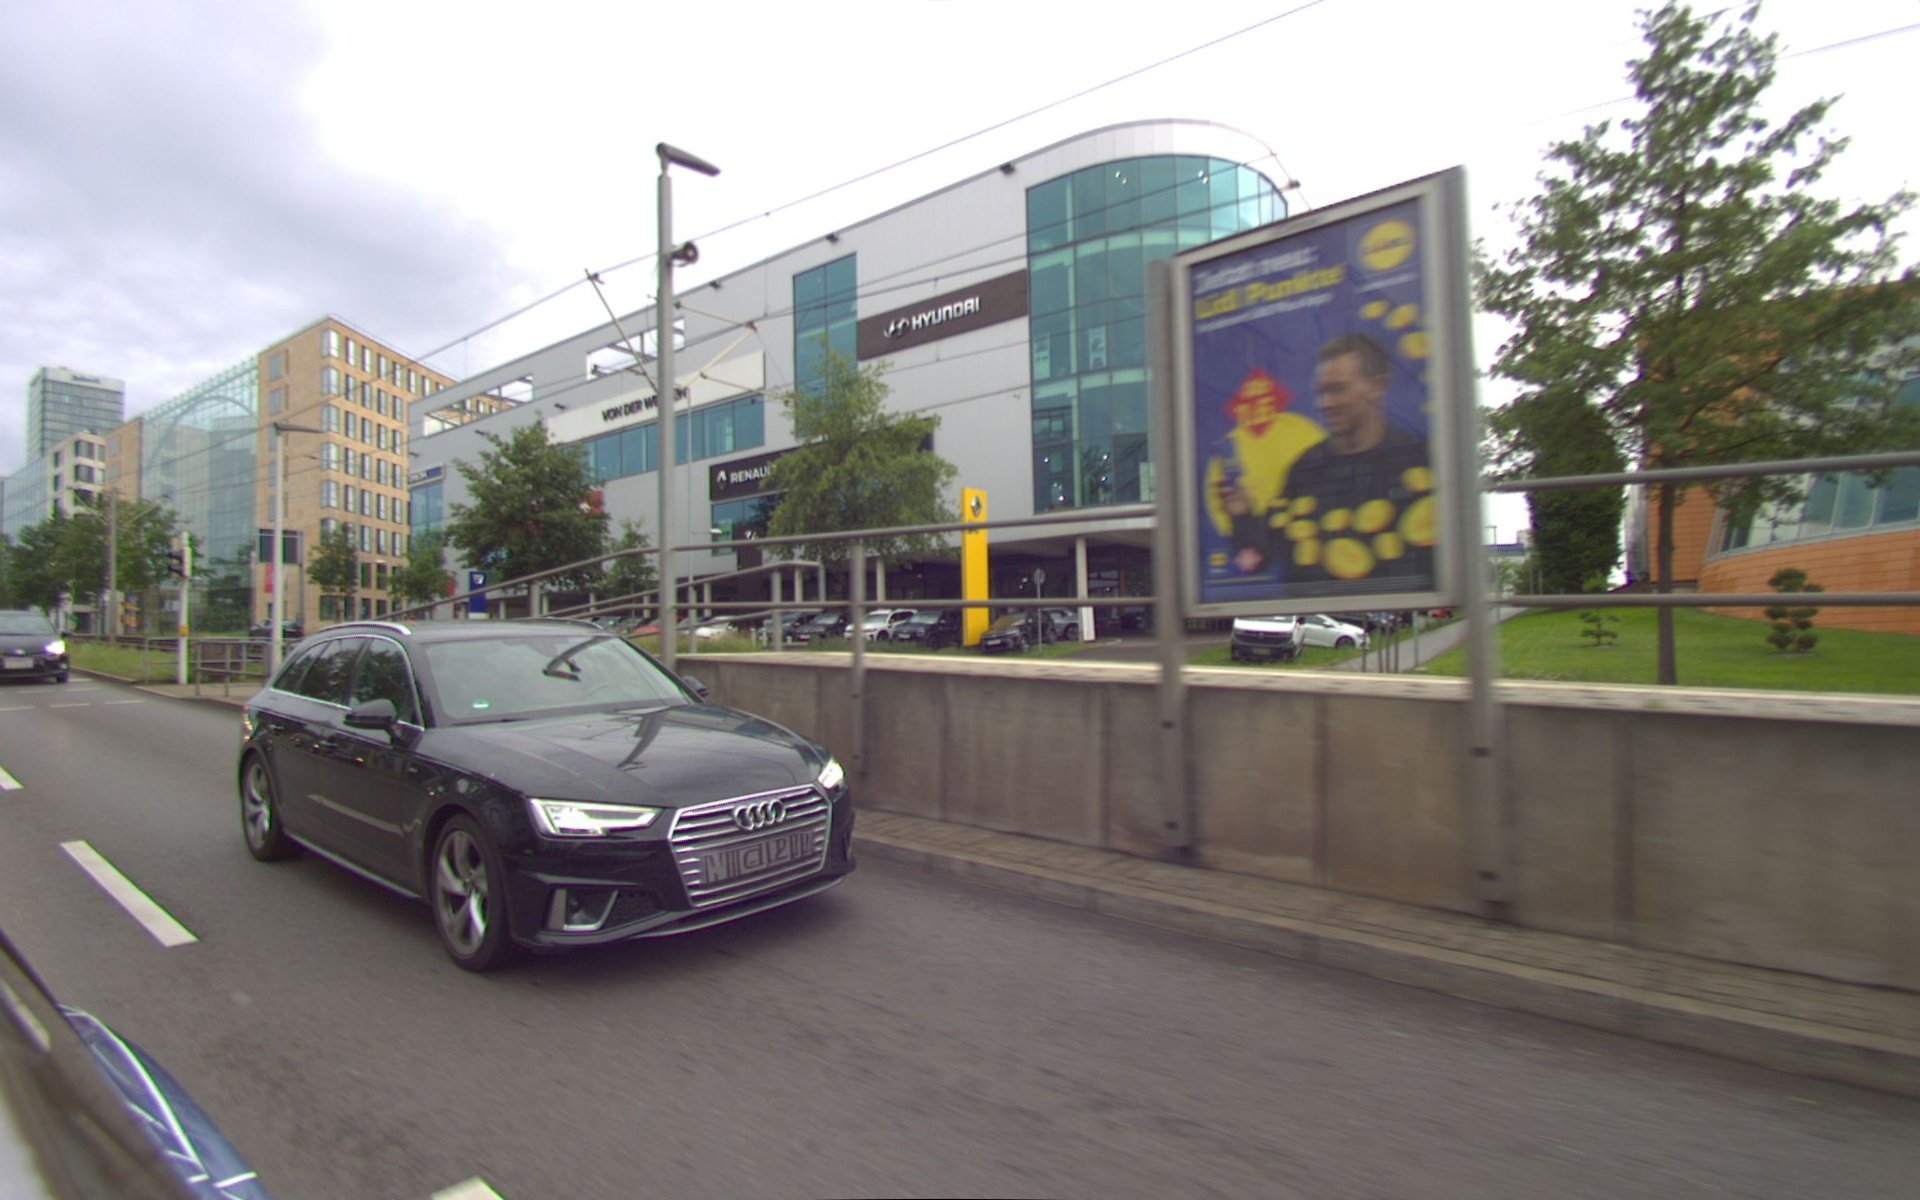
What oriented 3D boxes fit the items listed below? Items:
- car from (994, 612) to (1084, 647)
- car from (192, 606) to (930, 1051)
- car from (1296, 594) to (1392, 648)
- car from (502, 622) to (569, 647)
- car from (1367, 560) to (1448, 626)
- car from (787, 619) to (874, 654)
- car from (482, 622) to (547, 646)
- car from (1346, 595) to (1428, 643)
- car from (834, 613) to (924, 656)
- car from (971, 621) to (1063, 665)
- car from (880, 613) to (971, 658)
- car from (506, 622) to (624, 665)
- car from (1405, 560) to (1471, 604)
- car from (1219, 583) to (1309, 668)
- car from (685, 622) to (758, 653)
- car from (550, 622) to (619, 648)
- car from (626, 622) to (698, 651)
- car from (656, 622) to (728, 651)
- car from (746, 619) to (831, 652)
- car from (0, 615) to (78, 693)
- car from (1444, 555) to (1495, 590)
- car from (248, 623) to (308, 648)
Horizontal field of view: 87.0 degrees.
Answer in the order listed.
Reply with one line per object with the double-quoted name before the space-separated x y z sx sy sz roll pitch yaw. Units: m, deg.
"car" 3.512 1.320 45.630 3.946 1.480 1.770 -1 -1 2
"car" -2.534 0.803 5.572 4.826 1.445 1.771 -2 -2 41
"car" 15.097 0.772 39.570 2.274 1.941 5.420 -1 0 35
"car" -26.921 2.151 64.274 1.812 1.502 3.813 -1 -1 22
"car" 23.906 -0.367 53.935 2.994 3.296 5.420 -1 0 35
"car" -5.924 1.642 46.574 1.819 1.502 3.954 -2 -1 34
"car" -28.956 2.185 65.881 1.809 1.502 3.819 -1 -1 18
"car" 18.992 0.791 44.828 2.274 1.941 5.420 -1 0 35
"car" -3.542 1.508 44.835 1.917 1.674 3.954 -2 1 34
"car" 2.268 1.624 39.497 1.891 1.519 3.956 -1 0 33
"car" -1.409 1.480 43.226 1.917 1.674 3.954 -2 0 34
"car" -14.425 1.536 36.851 4.871 1.399 1.973 -1 0 41
"car" 28.845 -1.063 61.027 2.741 2.513 5.420 -1 0 35
"car" 10.405 0.803 34.353 2.265 2.649 5.441 -1 0 23
"car" -12.354 1.916 52.593 1.812 1.502 3.813 -1 -1 22
"car" -22.593 2.087 60.972 1.812 1.502 3.813 -1 -1 22
"car" -16.356 1.966 55.685 1.812 1.502 3.813 -1 -1 22
"car" -14.309 1.941 54.297 1.812 1.502 3.813 -1 -1 22
"car" -8.234 1.683 48.889 1.819 1.502 3.954 -2 -1 34
"car" -20.049 1.105 21.286 3.999 1.513 1.775 -2 -2 42
"car" 38.603 -2.030 76.594 2.741 2.513 5.420 -1 0 35
"car" -43.074 2.235 63.886 4.871 1.447 1.973 -1 0 41
